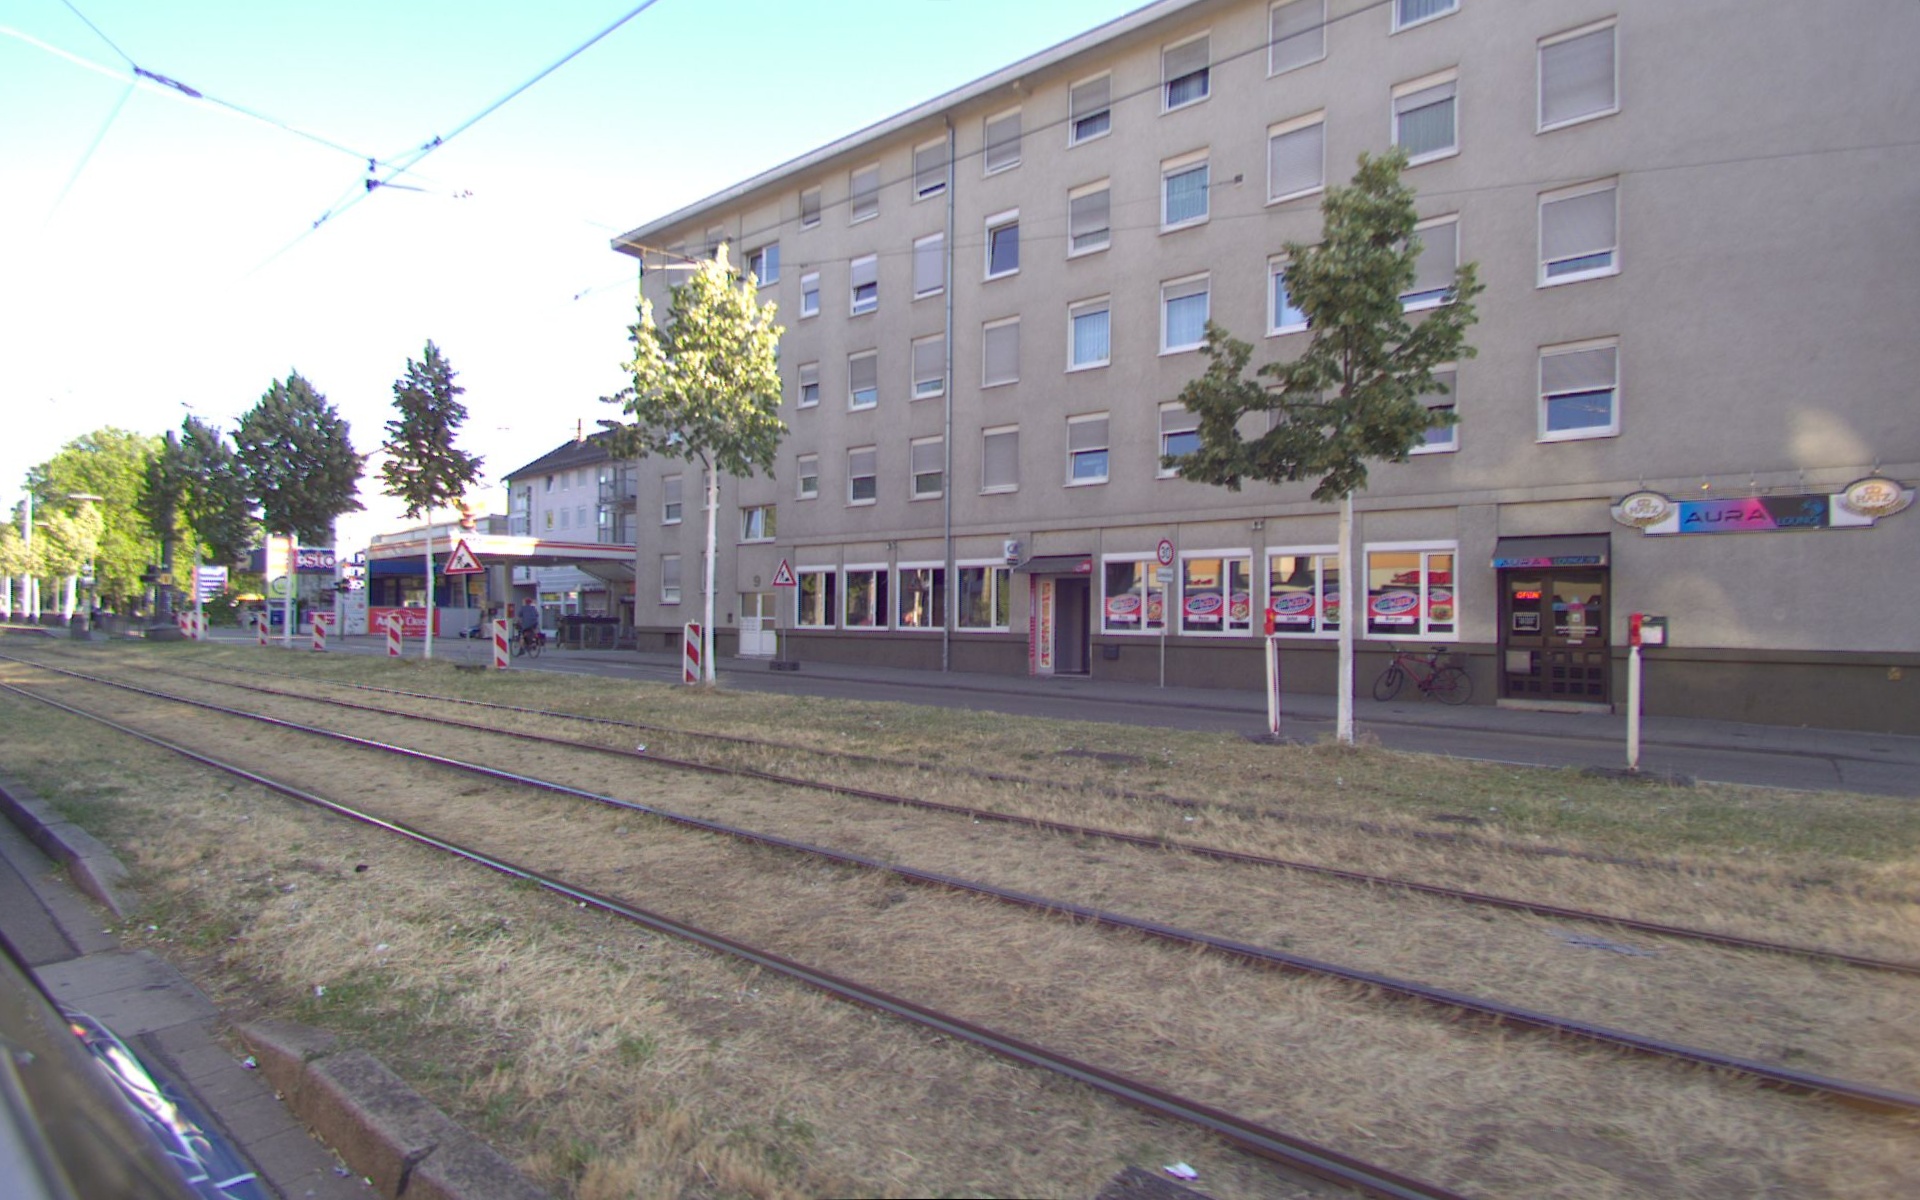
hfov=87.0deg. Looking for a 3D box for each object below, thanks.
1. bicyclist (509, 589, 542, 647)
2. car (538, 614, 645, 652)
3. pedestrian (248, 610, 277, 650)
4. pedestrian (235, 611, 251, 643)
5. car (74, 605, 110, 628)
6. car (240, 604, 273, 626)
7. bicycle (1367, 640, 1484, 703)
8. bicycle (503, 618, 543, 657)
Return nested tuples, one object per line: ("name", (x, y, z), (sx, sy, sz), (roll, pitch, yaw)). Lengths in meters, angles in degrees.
("bicyclist", (-14.423, 0.594, 33.593), (0.808, 1.897, 0.644), (-1, -3, 40))
("car", (-15.141, 1.363, 41.681), (1.906, 1.481, 3.681), (-3, -3, 39))
("pedestrian", (-22.601, 0.975, 32.781), (0.581, 1.280, 0.655), (-2, -1, 41))
("pedestrian", (-45.599, 1.708, 64.378), (0.583, 2.028, 0.624), (-1, 3, 42))
("car", (-68.948, 1.276, 80.377), (1.970, 1.748, 4.397), (0, 0, -44))
("car", (-54.432, 1.148, 78.288), (1.756, 1.567, 4.006), (0, 1, -41))
("bicycle", (8.471, 1.272, 18.462), (1.844, 1.031, 0.601), (0, 0, 41))
("bicycle", (-14.528, 1.254, 33.652), (1.869, 1.267, 0.450), (-2, -2, 41))
